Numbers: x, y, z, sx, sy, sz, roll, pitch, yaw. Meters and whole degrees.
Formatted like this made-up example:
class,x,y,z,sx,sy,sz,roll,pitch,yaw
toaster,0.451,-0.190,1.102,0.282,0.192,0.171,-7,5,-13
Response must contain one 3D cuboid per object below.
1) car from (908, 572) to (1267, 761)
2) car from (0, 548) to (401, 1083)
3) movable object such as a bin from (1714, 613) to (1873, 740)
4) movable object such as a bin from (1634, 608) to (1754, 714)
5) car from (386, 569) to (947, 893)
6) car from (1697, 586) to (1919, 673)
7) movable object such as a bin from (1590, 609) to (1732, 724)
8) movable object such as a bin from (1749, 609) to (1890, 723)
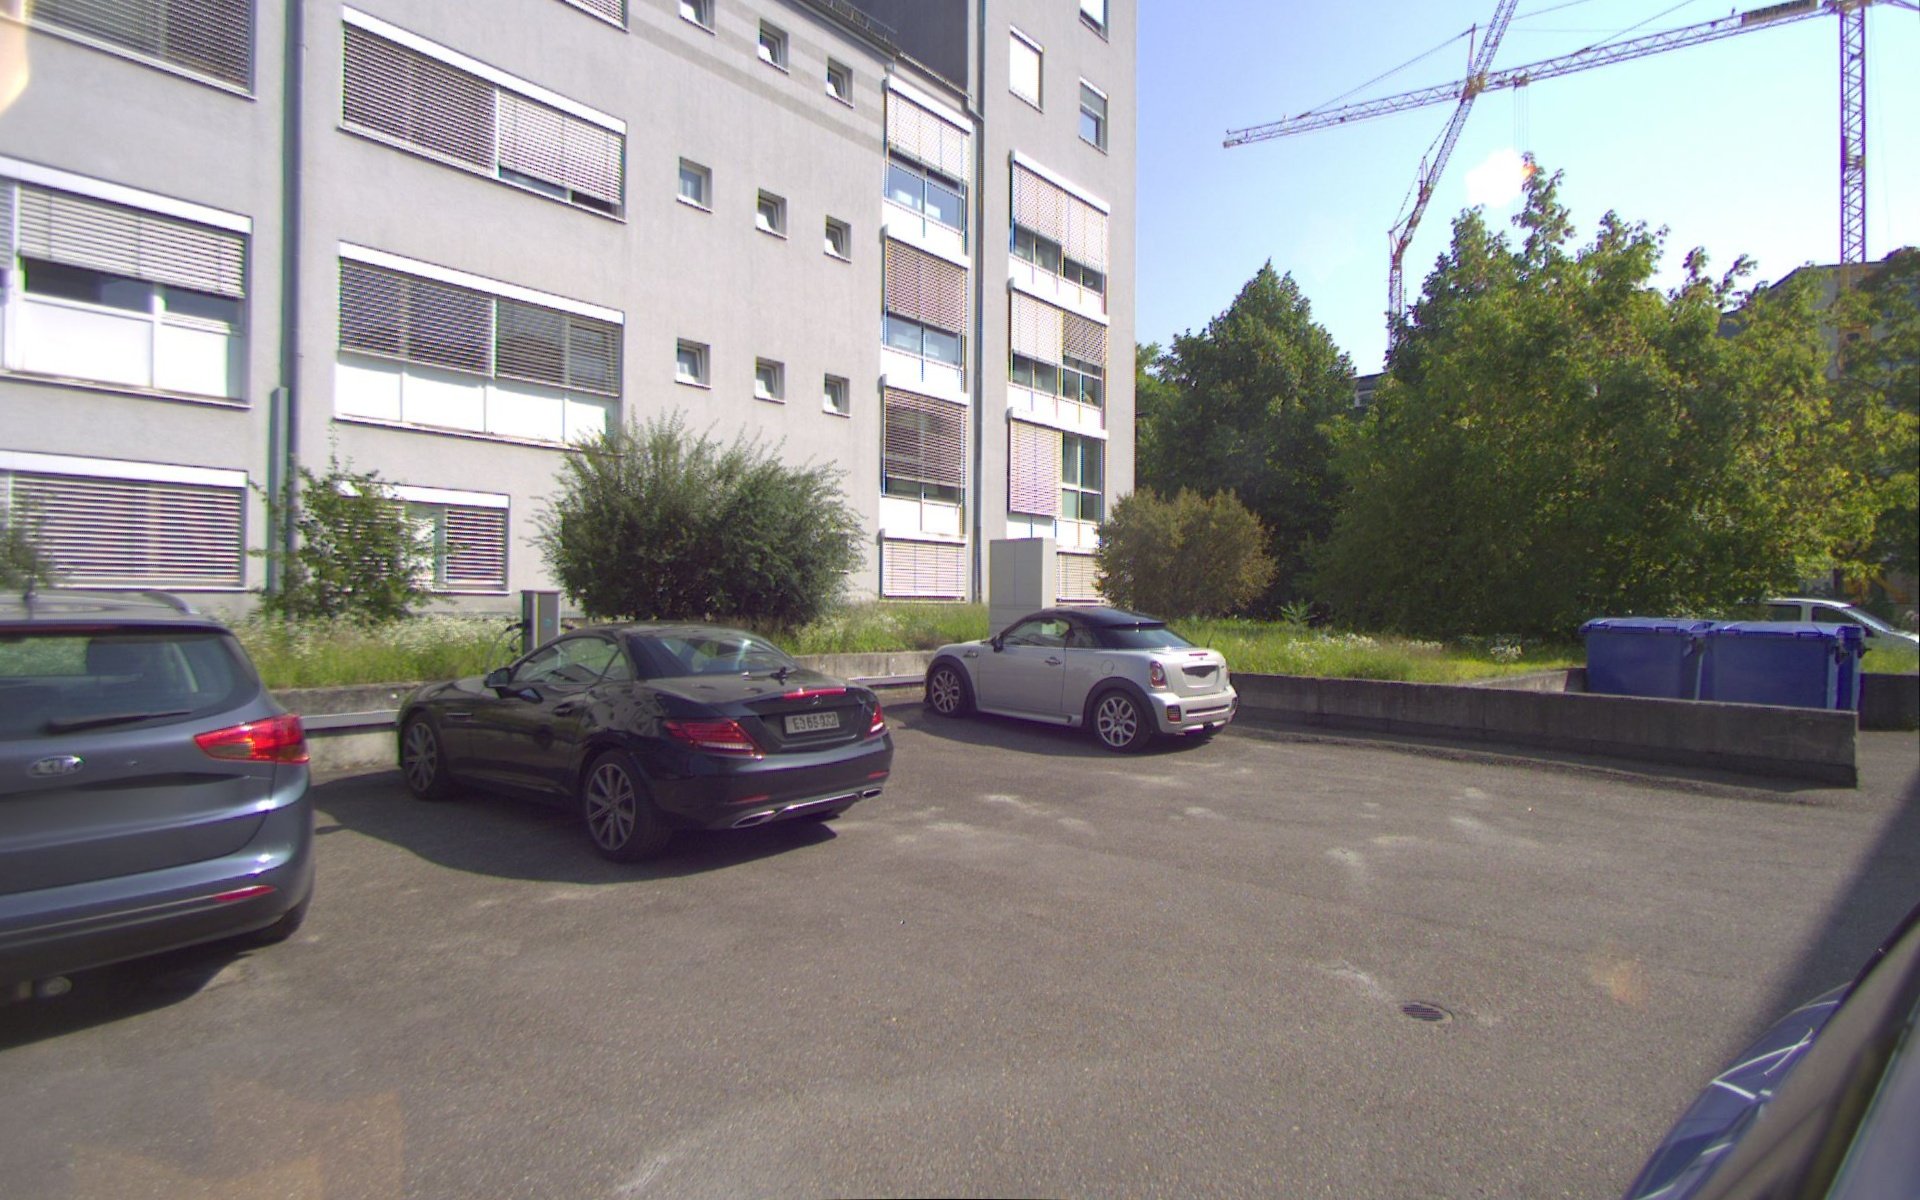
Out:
class,x,y,z,sx,sy,sz,roll,pitch,yaw
car,1.302,0.580,11.302,1.773,1.563,3.623,0,4,-44
car,-4.176,0.654,4.511,3.860,1.609,1.850,0,0,43
movable object such as a bin,9.773,0.843,11.868,1.175,1.357,1.301,0,0,-43
movable object such as a bin,10.166,0.802,14.018,1.225,1.357,1.060,-1,-1,43
car,-2.138,0.654,6.955,3.791,1.609,1.871,0,0,38
car,21.115,0.664,24.478,2.008,1.945,4.966,0,0,-40
movable object such as a bin,8.915,0.800,12.885,1.097,1.357,1.237,0,0,-39
movable object such as a bin,11.052,0.798,13.022,1.309,1.357,1.082,-1,-1,44
